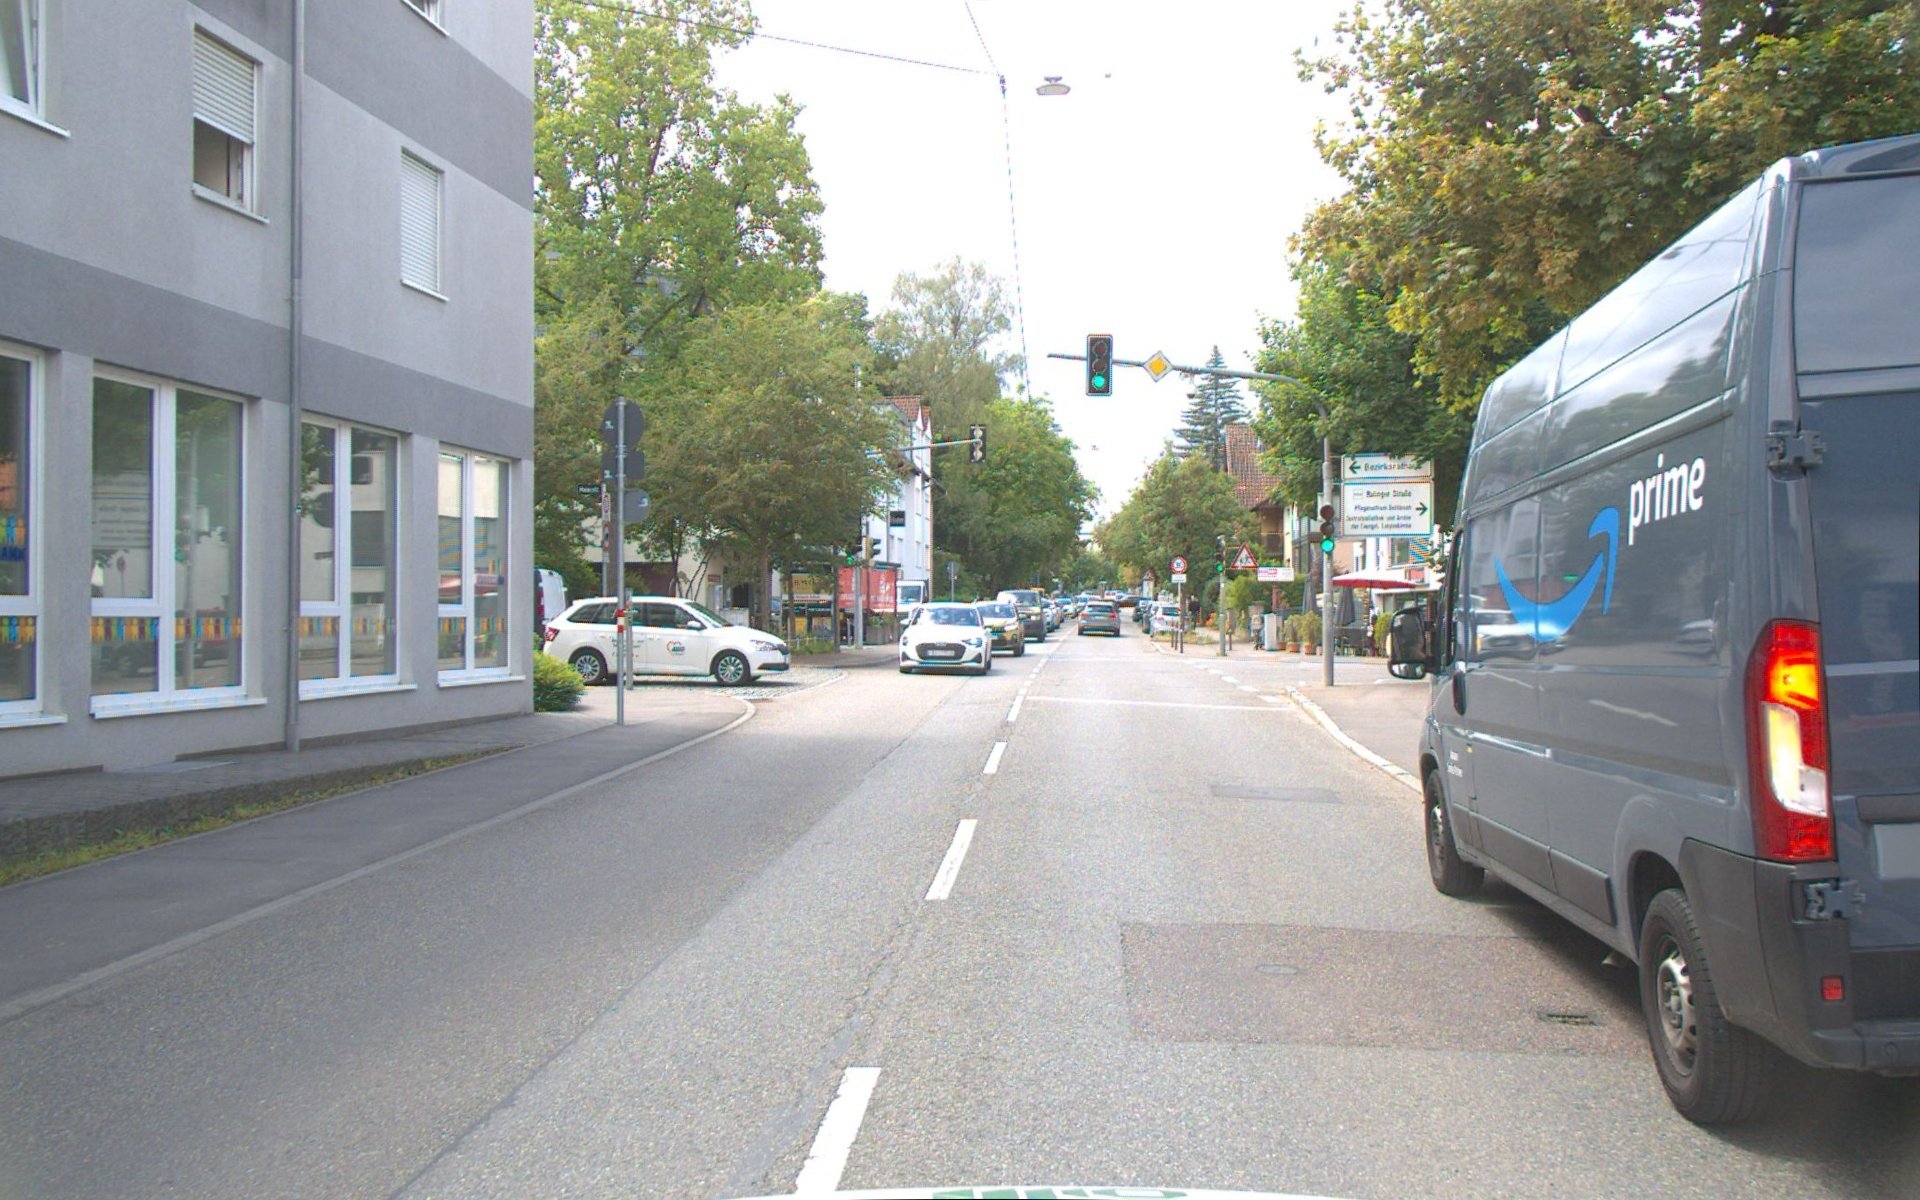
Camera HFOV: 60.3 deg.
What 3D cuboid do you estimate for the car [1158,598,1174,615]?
[{"bbox_3d":[26.017,0.805,209.277,1.951,2.049,4.003,0,-1,7],"label":"car"}]

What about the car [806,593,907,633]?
[{"bbox_3d":[-3.870,0.485,62.265,3.616,1.450,1.805,1,0,1],"label":"car"}]

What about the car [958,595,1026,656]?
[{"bbox_3d":[0.949,0.680,46.379,1.691,1.565,4.002,1,1,4],"label":"car"}]

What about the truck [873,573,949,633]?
[{"bbox_3d":[-1.987,0.146,69.441,2.177,2.421,6.330,0,0,8],"label":"truck"}]

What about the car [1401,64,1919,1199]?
[{"bbox_3d":[3.402,0.126,6.974,2.102,2.819,6.254,0,0,7],"label":"car"}]

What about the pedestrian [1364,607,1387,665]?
[{"bbox_3d":[12.892,1.105,51.329,0.420,1.793,0.673,1,-1,-16],"label":"pedestrian"}]

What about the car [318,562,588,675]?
[{"bbox_3d":[-9.743,0.340,32.059,4.524,2.044,2.096,1,0,2],"label":"car"}]

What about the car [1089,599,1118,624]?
[{"bbox_3d":[9.426,0.732,108.667,1.777,1.527,4.270,1,0,6],"label":"car"}]

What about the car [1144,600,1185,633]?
[{"bbox_3d":[9.848,0.770,79.903,1.698,1.453,4.886,3,1,5],"label":"car"}]

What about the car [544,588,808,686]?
[{"bbox_3d":[-4.816,0.609,28.364,4.123,1.540,1.823,1,1,5],"label":"car"}]

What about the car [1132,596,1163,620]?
[{"bbox_3d":[12.464,0.529,110.068,1.764,1.470,4.889,2,1,4],"label":"car"}]

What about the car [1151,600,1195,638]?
[{"bbox_3d":[9.174,0.779,71.480,1.665,1.506,4.875,2,1,5],"label":"car"}]

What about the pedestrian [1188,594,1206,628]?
[{"bbox_3d":[12.029,0.553,83.845,0.862,1.742,0.843,0,-1,6],"label":"pedestrian"}]

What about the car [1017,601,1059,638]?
[{"bbox_3d":[3.704,0.900,78.098,1.768,1.598,4.162,-2,0,5],"label":"car"}]

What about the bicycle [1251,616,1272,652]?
[{"bbox_3d":[10.141,1.123,55.649,0.705,1.170,2.215,0,-1,10],"label":"bicycle"}]

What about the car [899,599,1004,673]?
[{"bbox_3d":[-0.121,0.704,34.566,1.834,1.449,4.117,1,0,5],"label":"car"}]

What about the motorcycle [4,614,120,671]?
[{"bbox_3d":[-17.345,0.802,32.024,1.179,1.022,2.335,1,0,-7],"label":"motorcycle"}]

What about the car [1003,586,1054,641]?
[{"bbox_3d":[2.614,0.487,62.405,1.837,1.946,4.754,1,0,3],"label":"car"}]

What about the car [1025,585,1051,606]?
[{"bbox_3d":[7.812,-0.448,165.437,2.100,2.015,4.934,0,-1,8],"label":"car"}]

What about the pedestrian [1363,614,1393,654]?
[{"bbox_3d":[11.710,0.942,46.332,0.558,1.108,0.630,1,-1,-20],"label":"pedestrian"}]

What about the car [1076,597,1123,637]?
[{"bbox_3d":[6.198,0.724,73.070,1.934,1.539,4.270,3,1,6],"label":"car"}]

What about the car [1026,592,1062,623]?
[{"bbox_3d":[4.390,0.367,85.625,1.692,1.529,4.378,-2,0,4],"label":"car"}]

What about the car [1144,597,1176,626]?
[{"bbox_3d":[11.000,0.627,91.160,1.587,1.534,3.781,0,0,5],"label":"car"}]

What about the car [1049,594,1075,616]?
[{"bbox_3d":[7.327,0.331,118.838,1.722,1.464,3.973,-2,0,5],"label":"car"}]
